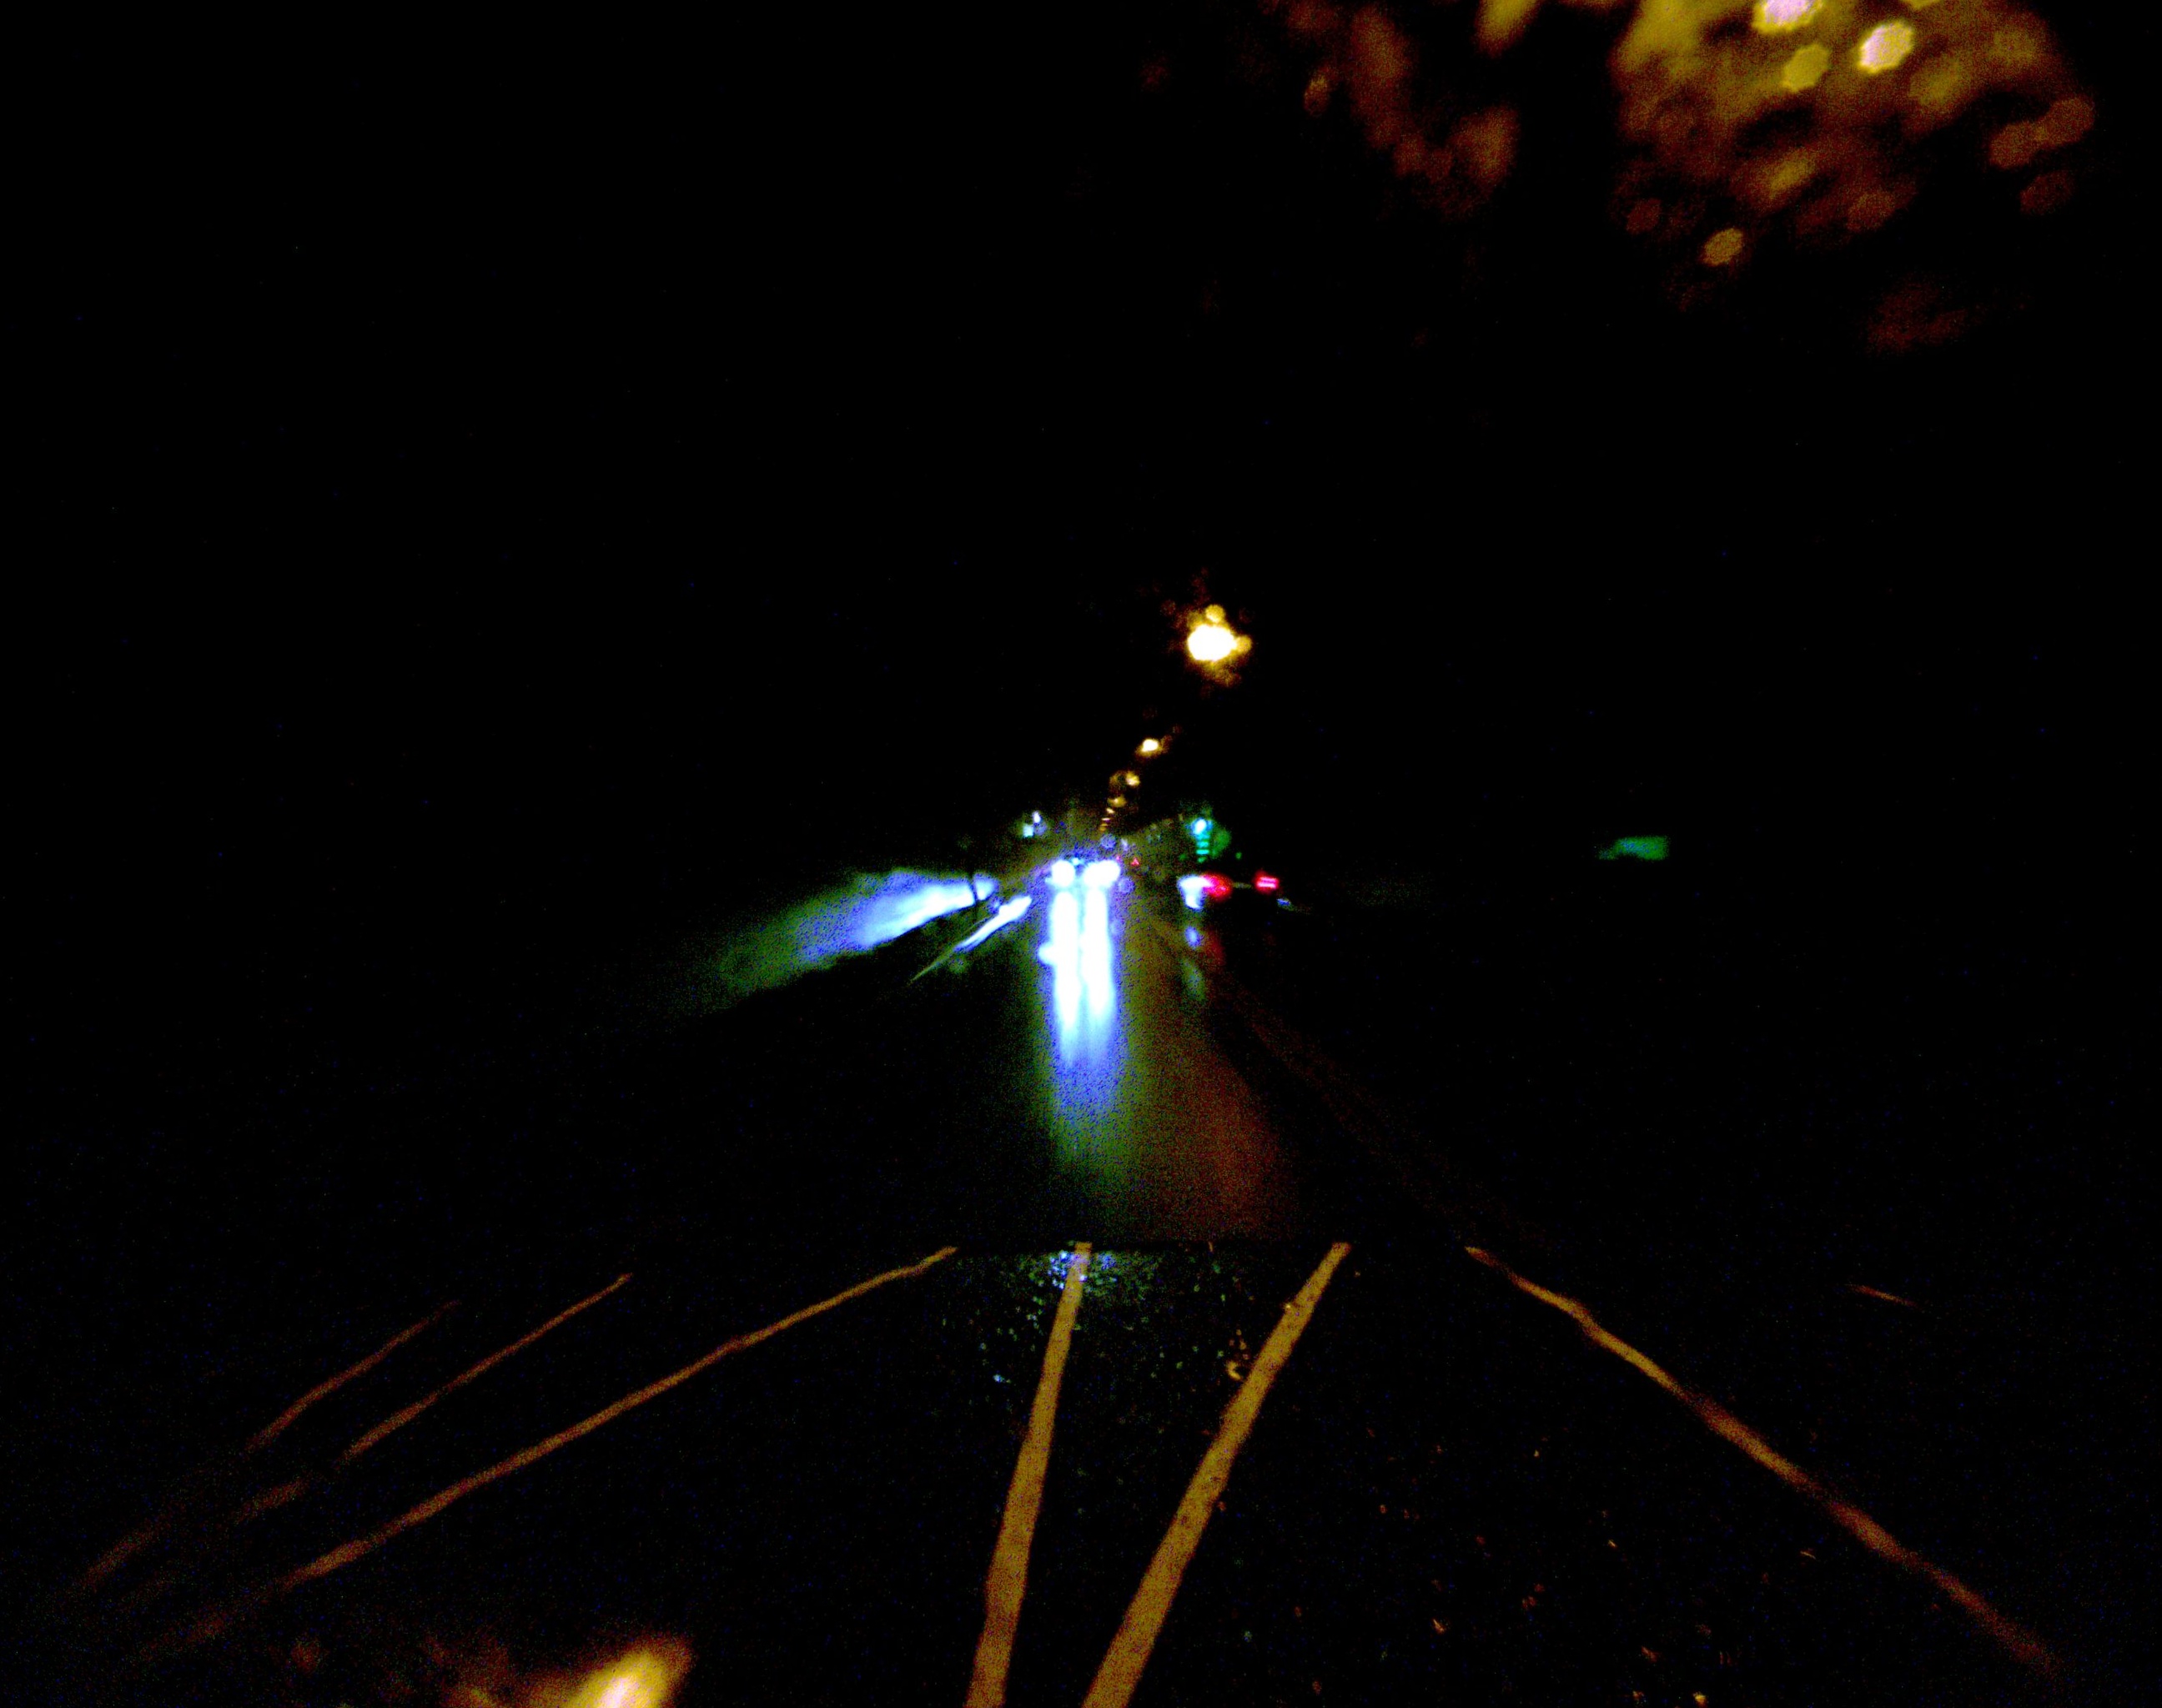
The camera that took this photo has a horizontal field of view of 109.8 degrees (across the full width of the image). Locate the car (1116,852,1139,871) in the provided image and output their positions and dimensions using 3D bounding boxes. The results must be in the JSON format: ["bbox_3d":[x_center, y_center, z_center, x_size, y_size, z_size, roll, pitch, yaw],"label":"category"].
[{"bbox_3d":[3.997,0.613,65.677,1.695,1.496,3.744,-2,0,0],"label":"car"}]

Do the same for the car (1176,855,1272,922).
[{"bbox_3d":[3.440,0.770,18.877,1.715,1.454,3.575,-2,0,1],"label":"car"}]

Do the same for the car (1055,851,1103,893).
[{"bbox_3d":[-0.067,0.793,35.714,1.998,1.547,3.998,-5,2,1],"label":"car"}]
